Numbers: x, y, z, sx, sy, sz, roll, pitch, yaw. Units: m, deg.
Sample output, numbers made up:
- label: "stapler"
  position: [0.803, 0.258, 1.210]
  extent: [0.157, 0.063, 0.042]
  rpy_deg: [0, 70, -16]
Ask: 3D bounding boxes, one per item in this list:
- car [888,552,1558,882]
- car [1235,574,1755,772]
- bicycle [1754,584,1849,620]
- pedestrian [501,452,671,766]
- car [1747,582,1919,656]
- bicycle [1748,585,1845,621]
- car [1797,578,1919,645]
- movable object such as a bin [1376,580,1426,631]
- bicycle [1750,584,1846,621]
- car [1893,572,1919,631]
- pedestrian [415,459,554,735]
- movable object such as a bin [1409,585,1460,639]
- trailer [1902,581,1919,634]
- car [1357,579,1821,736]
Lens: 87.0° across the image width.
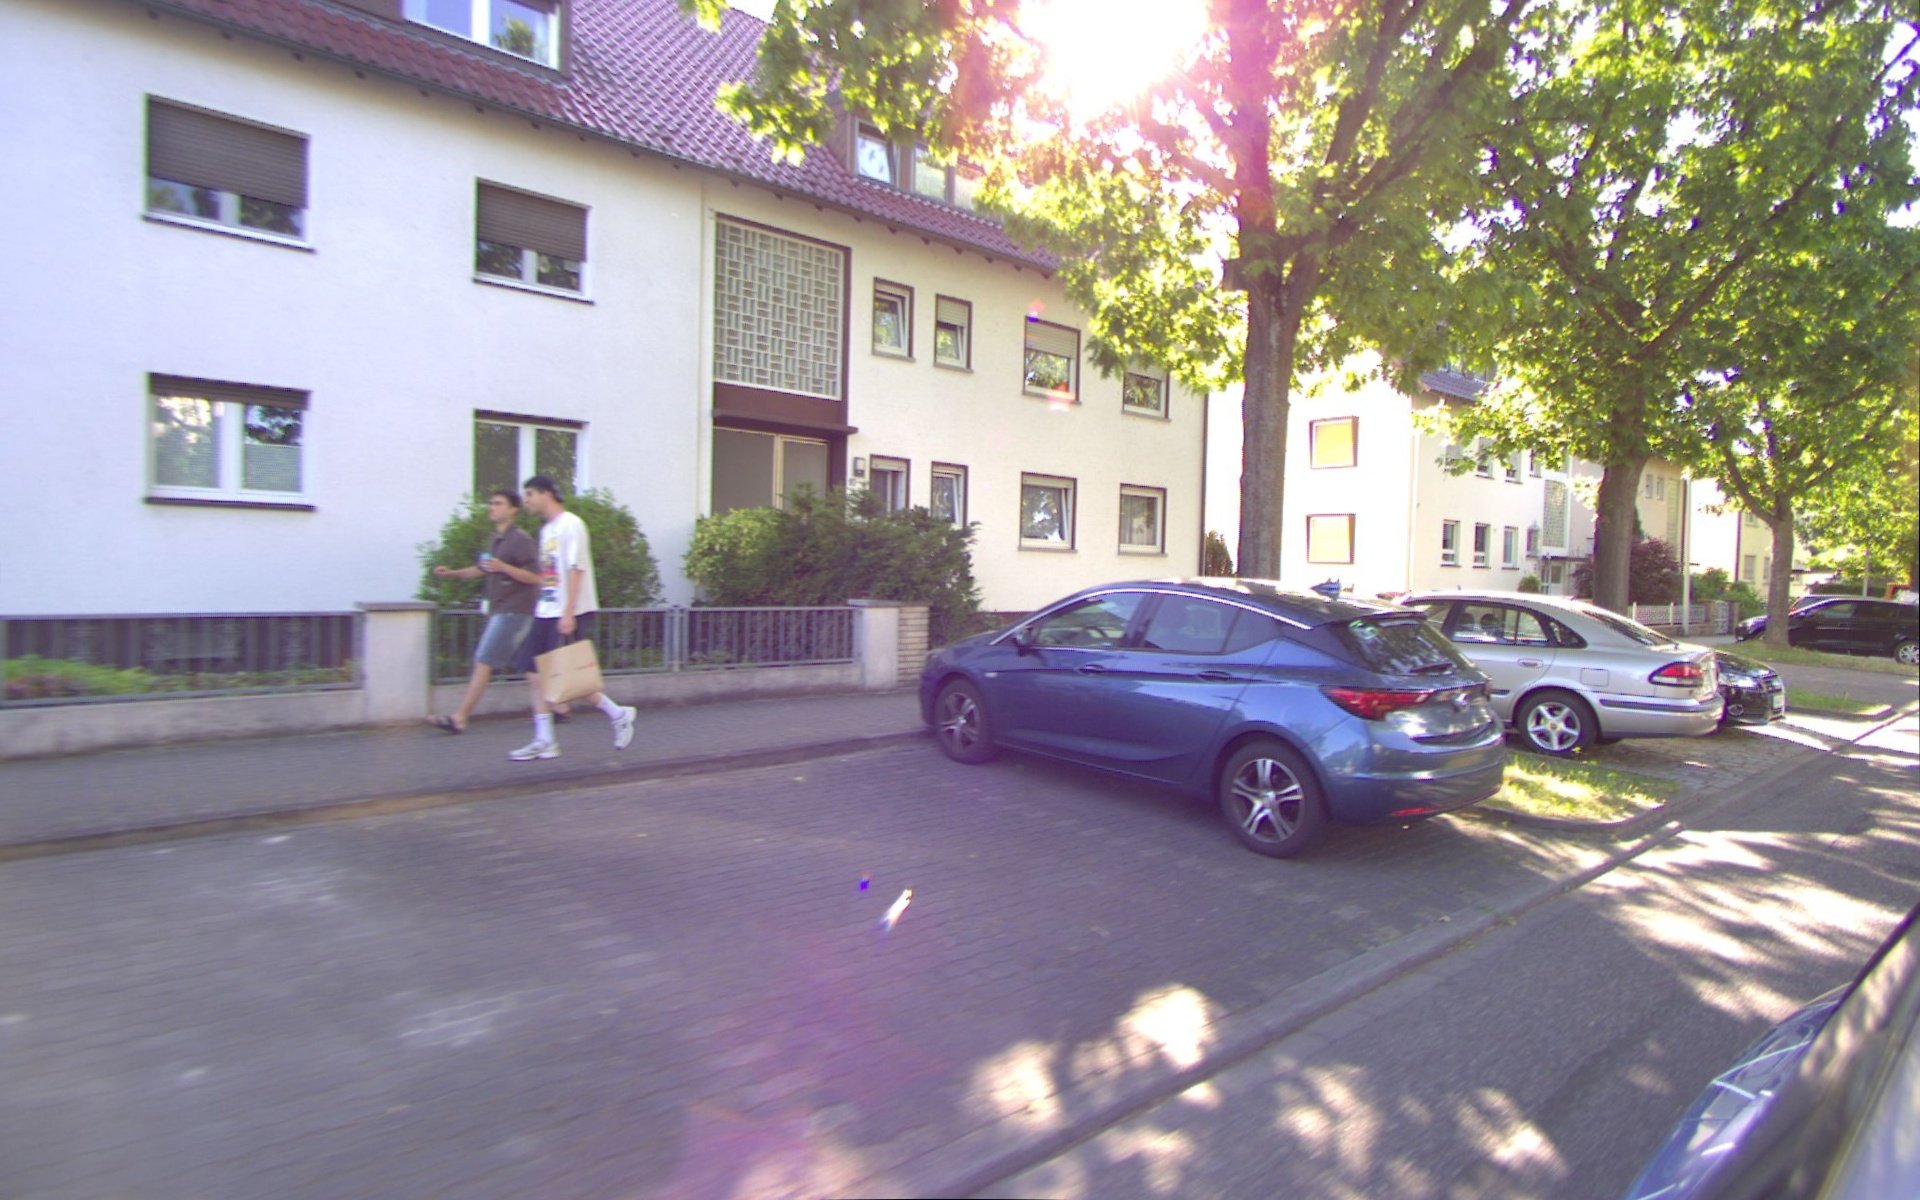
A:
- label: "car"
  position: [1.449, 0.475, 7.029]
  extent: [1.764, 1.521, 4.288]
  rpy_deg: [0, 3, -38]
- label: "car"
  position: [5.152, 0.536, 10.223]
  extent: [1.767, 1.431, 4.282]
  rpy_deg: [0, 3, -43]
- label: "bicycle"
  position: [33.793, 0.056, 40.690]
  extent: [0.459, 1.252, 2.868]
  rpy_deg: [-1, 4, -37]
- label: "pedestrian"
  position: [-2.440, 0.039, 6.620]
  extent: [0.907, 1.896, 0.610]
  rpy_deg: [-1, 3, -37]
- label: "car"
  position: [21.121, 0.411, 23.725]
  extent: [1.630, 1.534, 3.894]
  rpy_deg: [0, 3, -38]
- label: "bicycle"
  position: [33.056, 0.090, 40.063]
  extent: [0.459, 1.252, 2.868]
  rpy_deg: [0, 4, -37]
- label: "car"
  position: [25.094, 0.300, 26.998]
  extent: [1.727, 1.643, 3.995]
  rpy_deg: [0, 3, -41]
- label: "movable object such as a bin"
  position: [10.049, 0.117, 23.085]
  extent: [0.890, 1.112, 0.704]
  rpy_deg: [-1, 3, -40]
- label: "bicycle"
  position: [33.413, 0.067, 40.400]
  extent: [0.459, 1.252, 2.868]
  rpy_deg: [-1, 5, -37]
- label: "car"
  position: [36.197, 0.145, 35.457]
  extent: [2.048, 2.109, 4.833]
  rpy_deg: [0, 3, -38]
- label: "pedestrian"
  position: [-3.443, -0.042, 7.326]
  extent: [0.698, 1.850, 0.836]
  rpy_deg: [-1, 3, -42]
- label: "movable object such as a bin"
  position: [10.554, 0.250, 22.509]
  extent: [0.890, 1.125, 0.704]
  rpy_deg: [-1, 3, -40]
- label: "trailer"
  position: [32.619, 0.325, 32.740]
  extent: [1.588, 1.684, 2.950]
  rpy_deg: [-2, 5, -44]
- label: "car"
  position: [7.308, 0.516, 12.172]
  extent: [1.840, 1.379, 4.358]
  rpy_deg: [-1, 4, -39]
